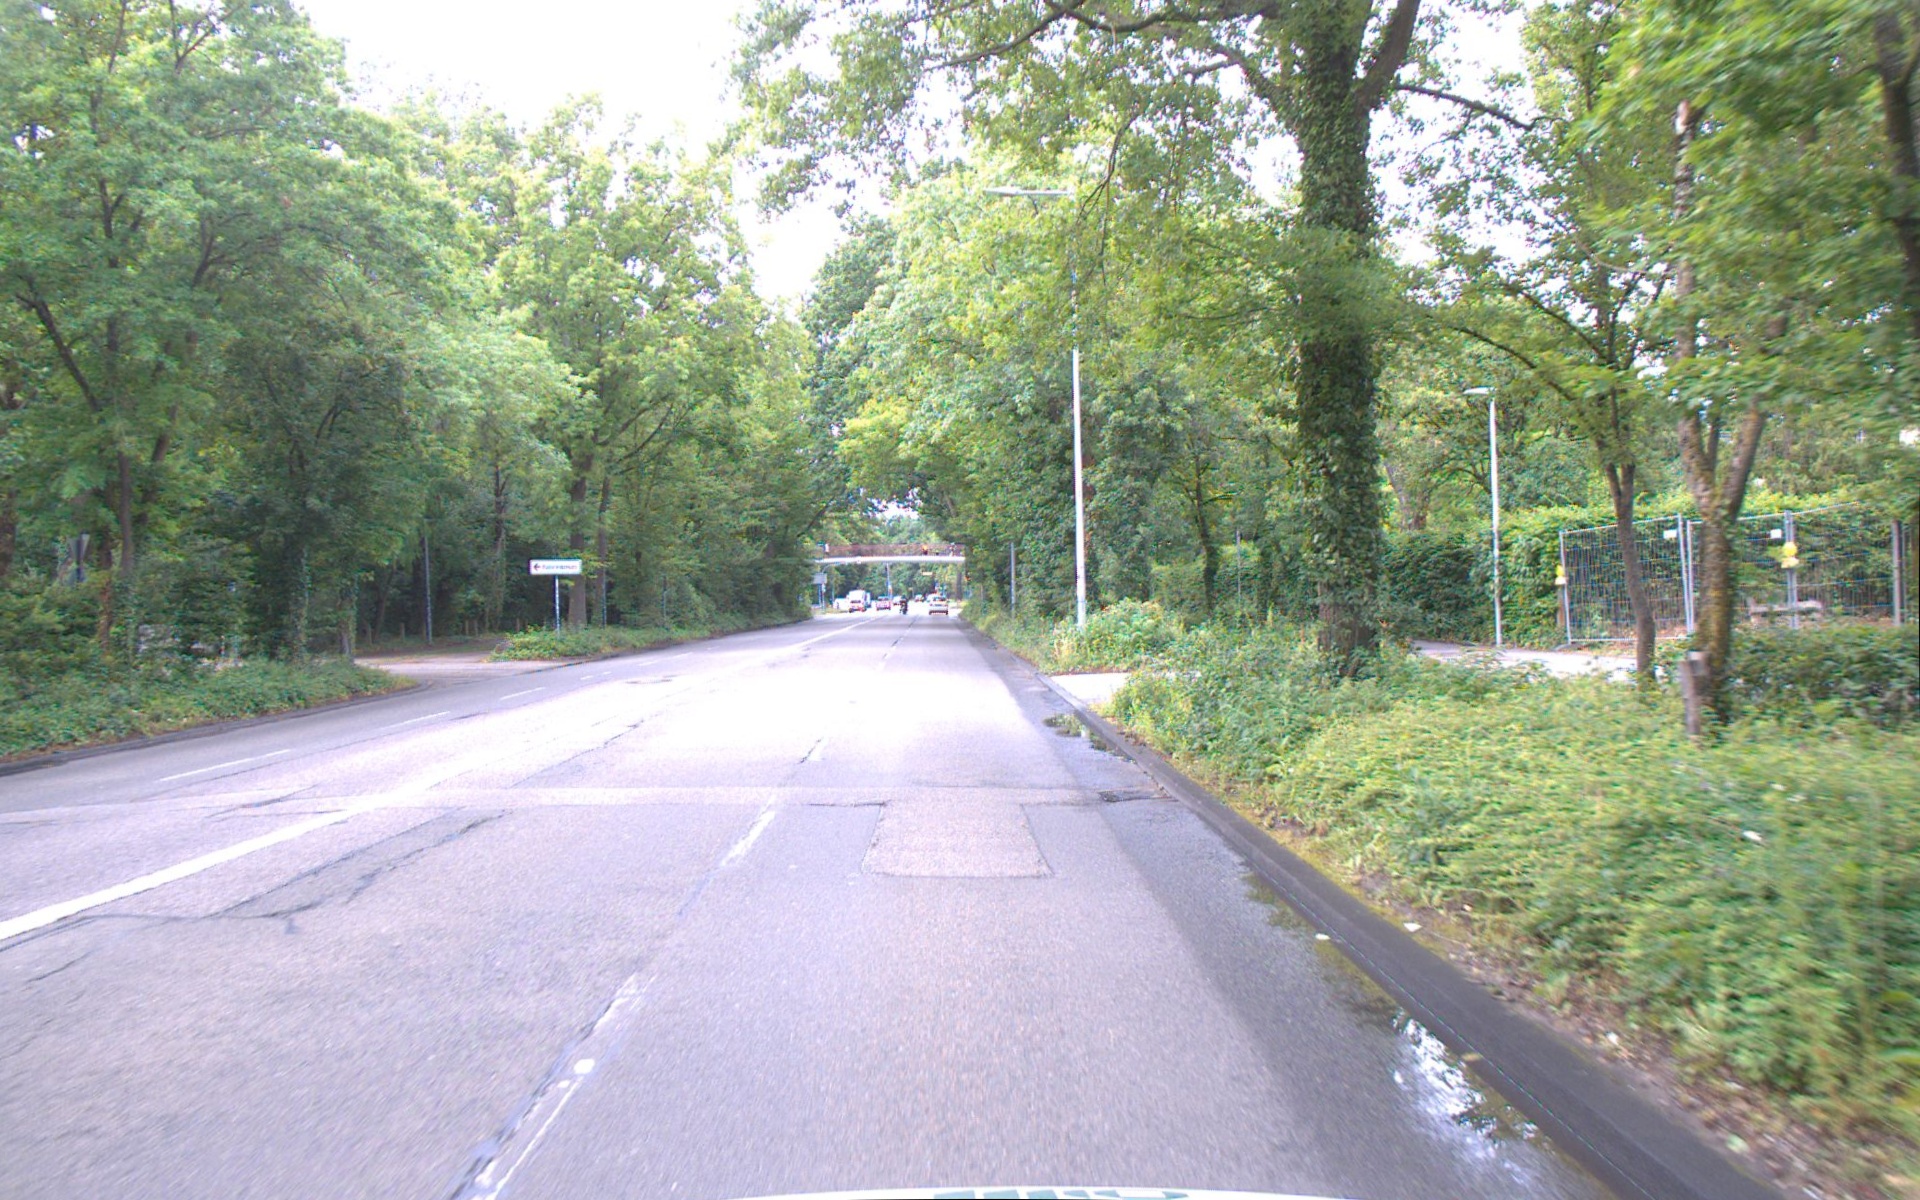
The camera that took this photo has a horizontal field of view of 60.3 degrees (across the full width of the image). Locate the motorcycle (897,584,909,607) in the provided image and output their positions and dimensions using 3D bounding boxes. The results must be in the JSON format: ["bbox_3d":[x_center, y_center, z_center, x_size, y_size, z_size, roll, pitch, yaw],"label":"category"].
[{"bbox_3d":[-4.775,-0.387,139.739,0.970,1.970,2.668,0,0,-1],"label":"motorcycle"}]

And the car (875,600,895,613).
[{"bbox_3d":[-8.307,0.686,182.751,1.639,1.386,3.924,0,0,6],"label":"car"}]

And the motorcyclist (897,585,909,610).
[{"bbox_3d":[-4.827,-0.213,139.610,1.042,2.049,0.842,0,0,-1],"label":"motorcyclist"}]

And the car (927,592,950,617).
[{"bbox_3d":[-1.779,0.382,136.084,1.806,2.049,3.999,0,0,-1],"label":"car"}]

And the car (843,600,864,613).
[{"bbox_3d":[-11.723,0.693,182.731,1.952,1.377,3.895,0,0,2],"label":"car"}]
